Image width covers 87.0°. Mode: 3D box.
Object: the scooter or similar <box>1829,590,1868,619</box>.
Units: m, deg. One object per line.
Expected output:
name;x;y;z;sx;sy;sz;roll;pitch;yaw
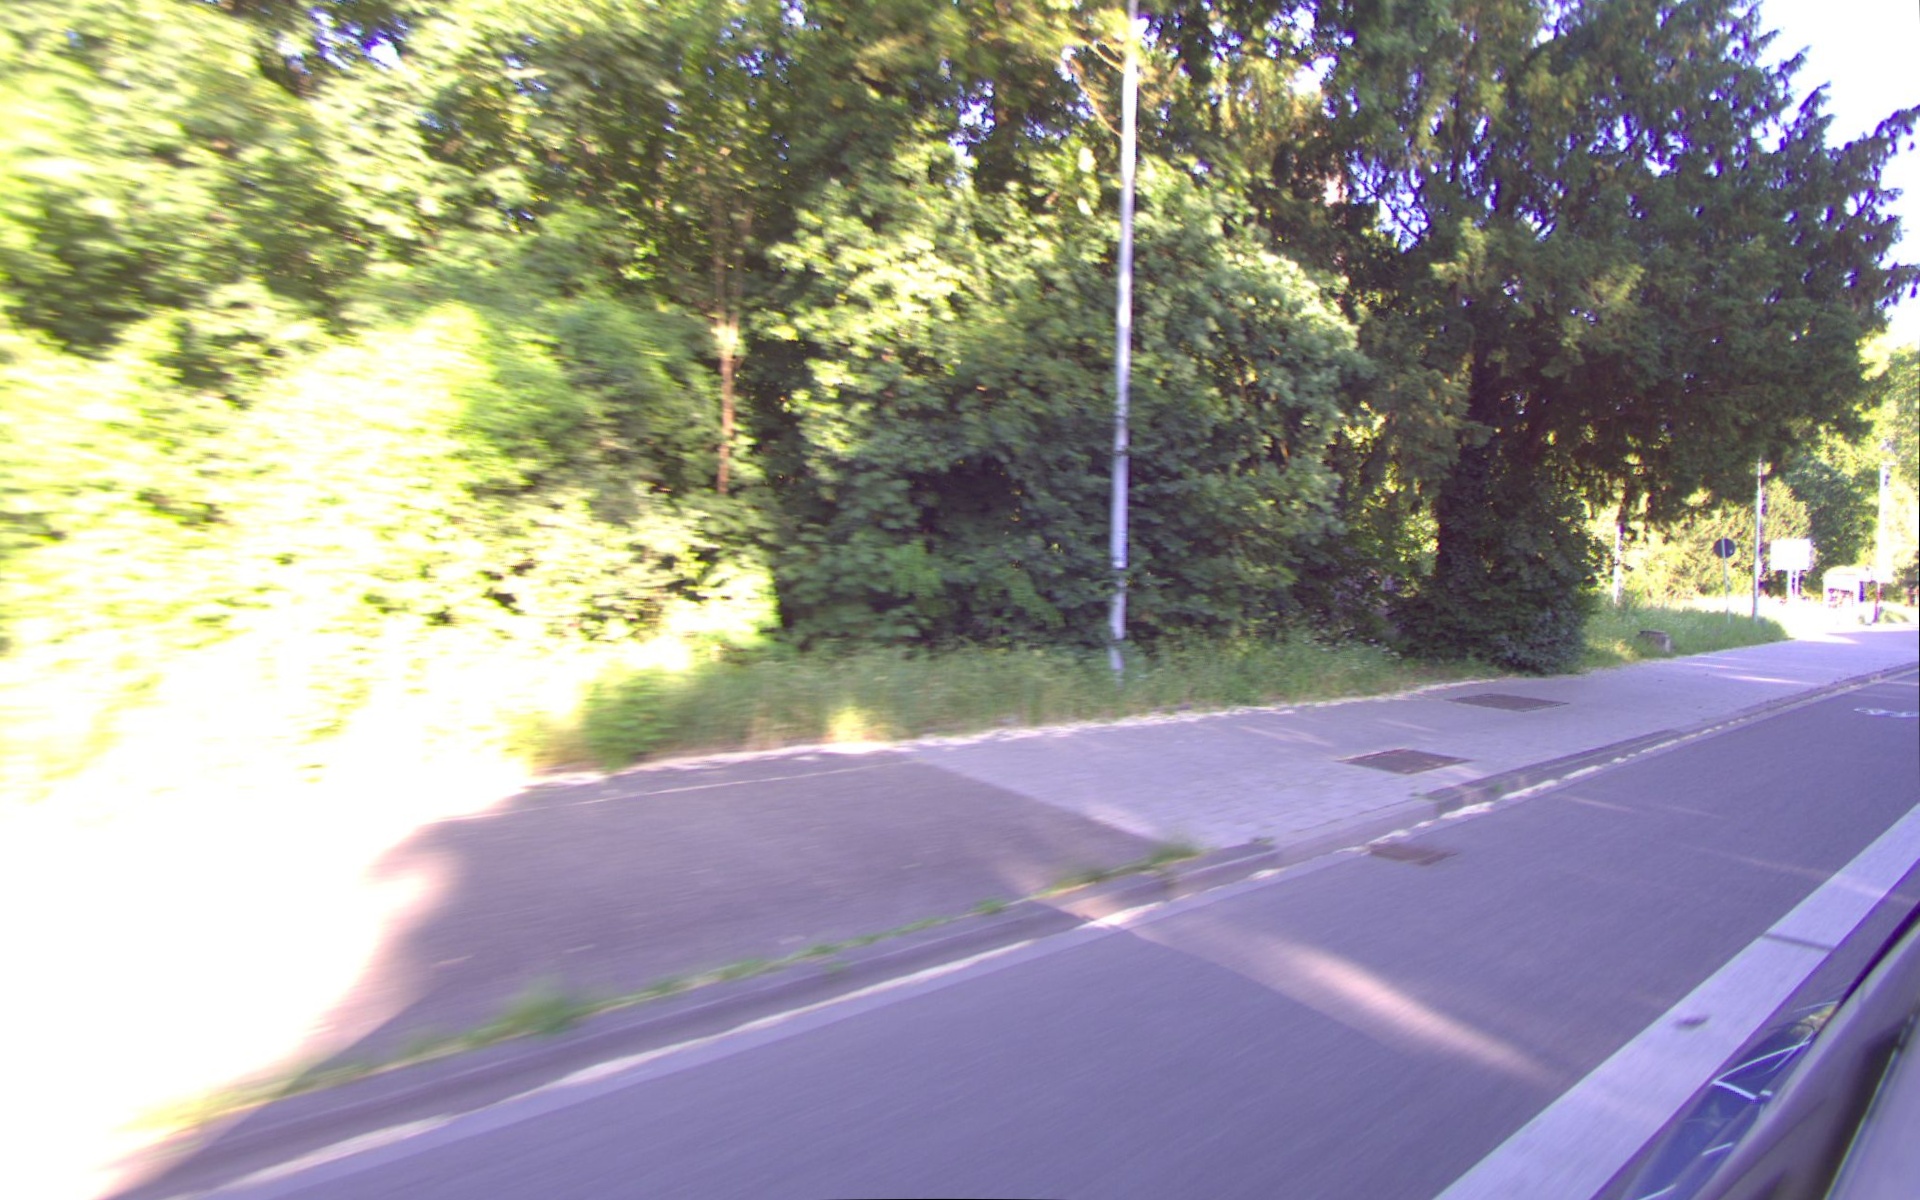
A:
scooter or similar;40.475;0.208;46.111;1.300;1.263;0.726;1;1;-17
